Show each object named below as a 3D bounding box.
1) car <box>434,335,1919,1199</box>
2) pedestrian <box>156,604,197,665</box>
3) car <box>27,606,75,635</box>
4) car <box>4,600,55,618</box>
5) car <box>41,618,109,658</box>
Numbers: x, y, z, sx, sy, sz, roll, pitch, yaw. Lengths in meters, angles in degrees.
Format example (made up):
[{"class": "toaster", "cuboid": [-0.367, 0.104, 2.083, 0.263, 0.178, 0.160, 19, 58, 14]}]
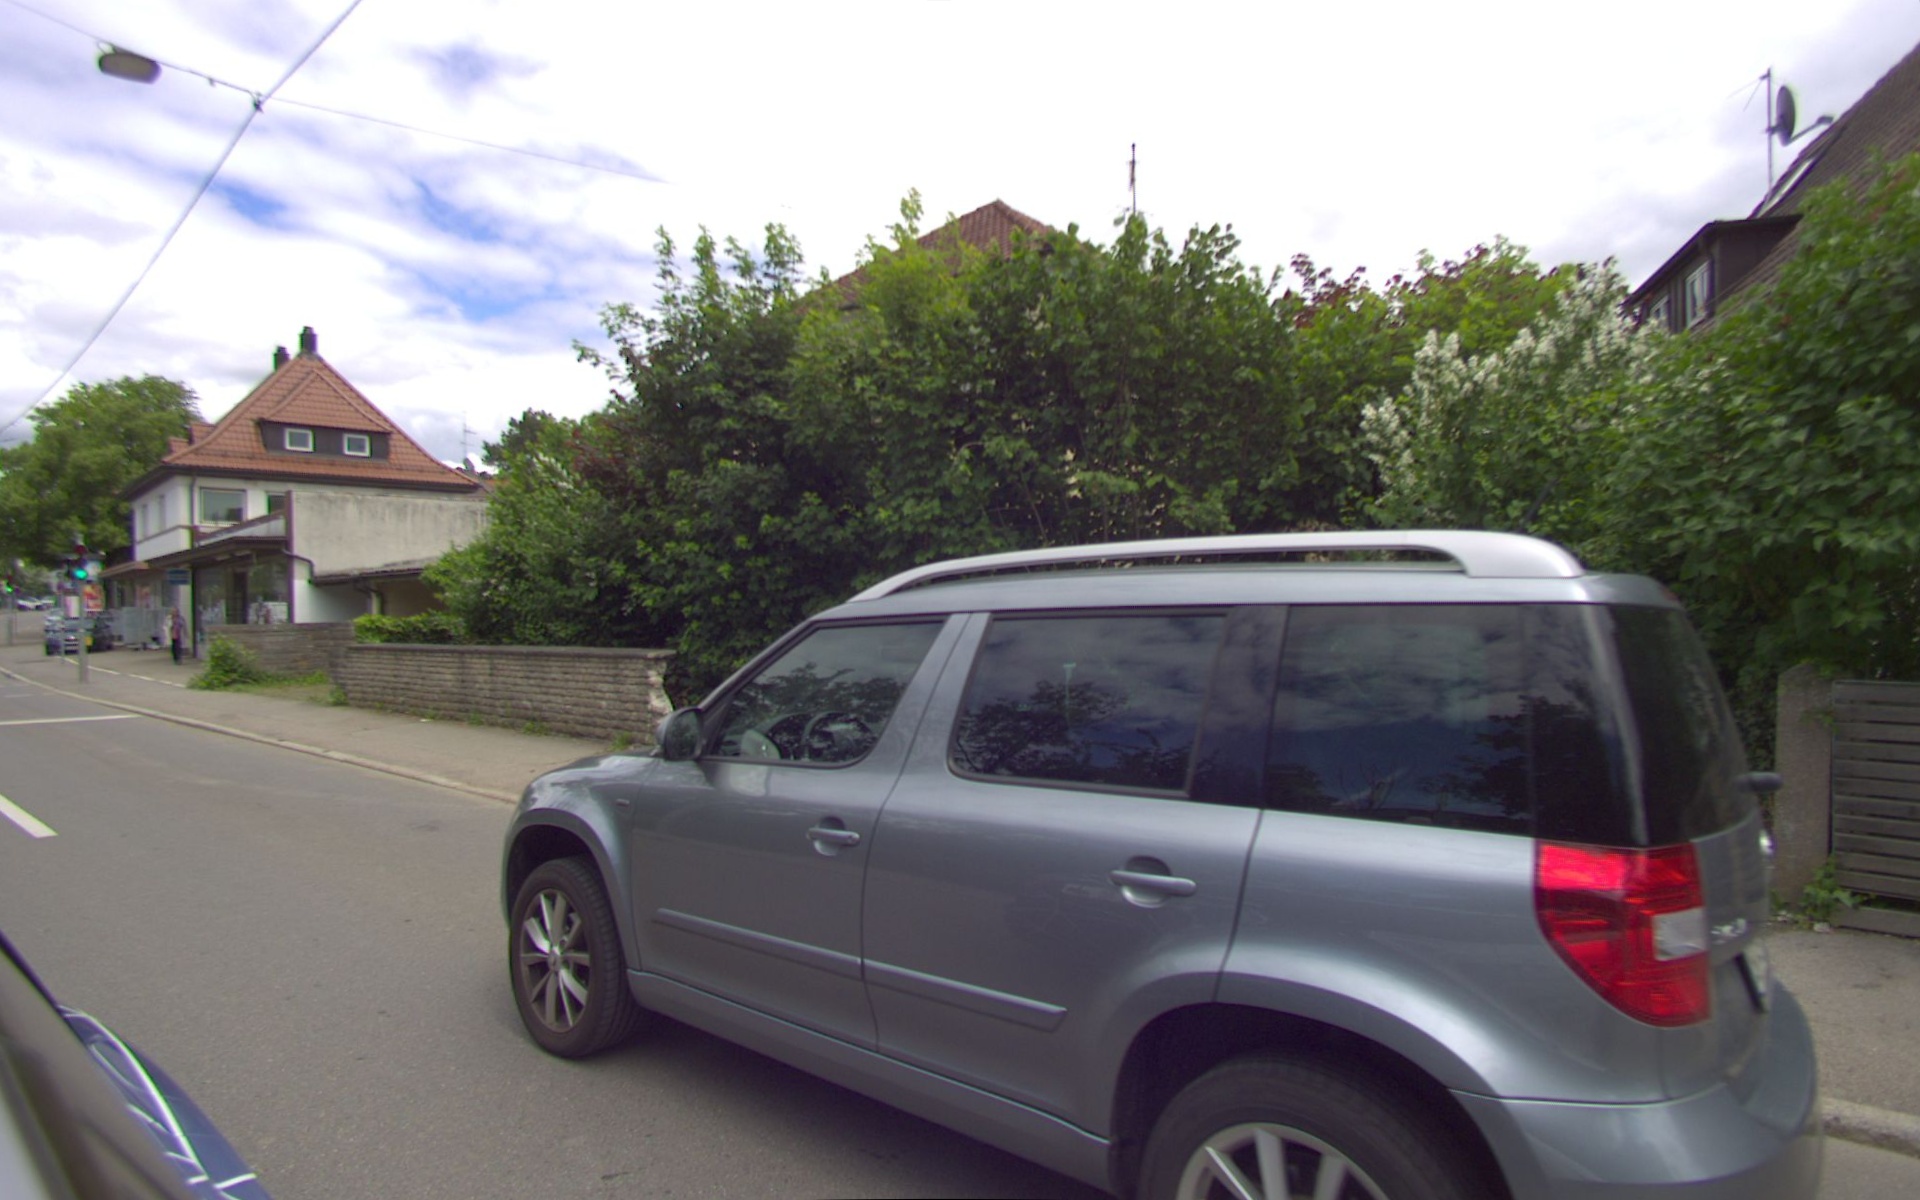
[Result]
[{"class": "car", "cuboid": [0.249, 0.551, 3.179, 4.134, 1.668, 1.822, 0, -3, 39]}, {"class": "pedestrian", "cuboid": [-23.512, 1.026, 30.383, 0.604, 1.757, 0.811, 0, 2, 42]}, {"class": "car", "cuboid": [-58.481, 1.293, 65.082, 3.998, 1.690, 1.749, 0, 2, 41]}, {"class": "car", "cuboid": [-104.143, 0.981, 113.363, 3.935, 1.752, 2.005, -3, 2, -36]}, {"class": "car", "cuboid": [-34.998, 1.462, 40.104, 1.795, 1.361, 3.398, -3, 2, -38]}]
